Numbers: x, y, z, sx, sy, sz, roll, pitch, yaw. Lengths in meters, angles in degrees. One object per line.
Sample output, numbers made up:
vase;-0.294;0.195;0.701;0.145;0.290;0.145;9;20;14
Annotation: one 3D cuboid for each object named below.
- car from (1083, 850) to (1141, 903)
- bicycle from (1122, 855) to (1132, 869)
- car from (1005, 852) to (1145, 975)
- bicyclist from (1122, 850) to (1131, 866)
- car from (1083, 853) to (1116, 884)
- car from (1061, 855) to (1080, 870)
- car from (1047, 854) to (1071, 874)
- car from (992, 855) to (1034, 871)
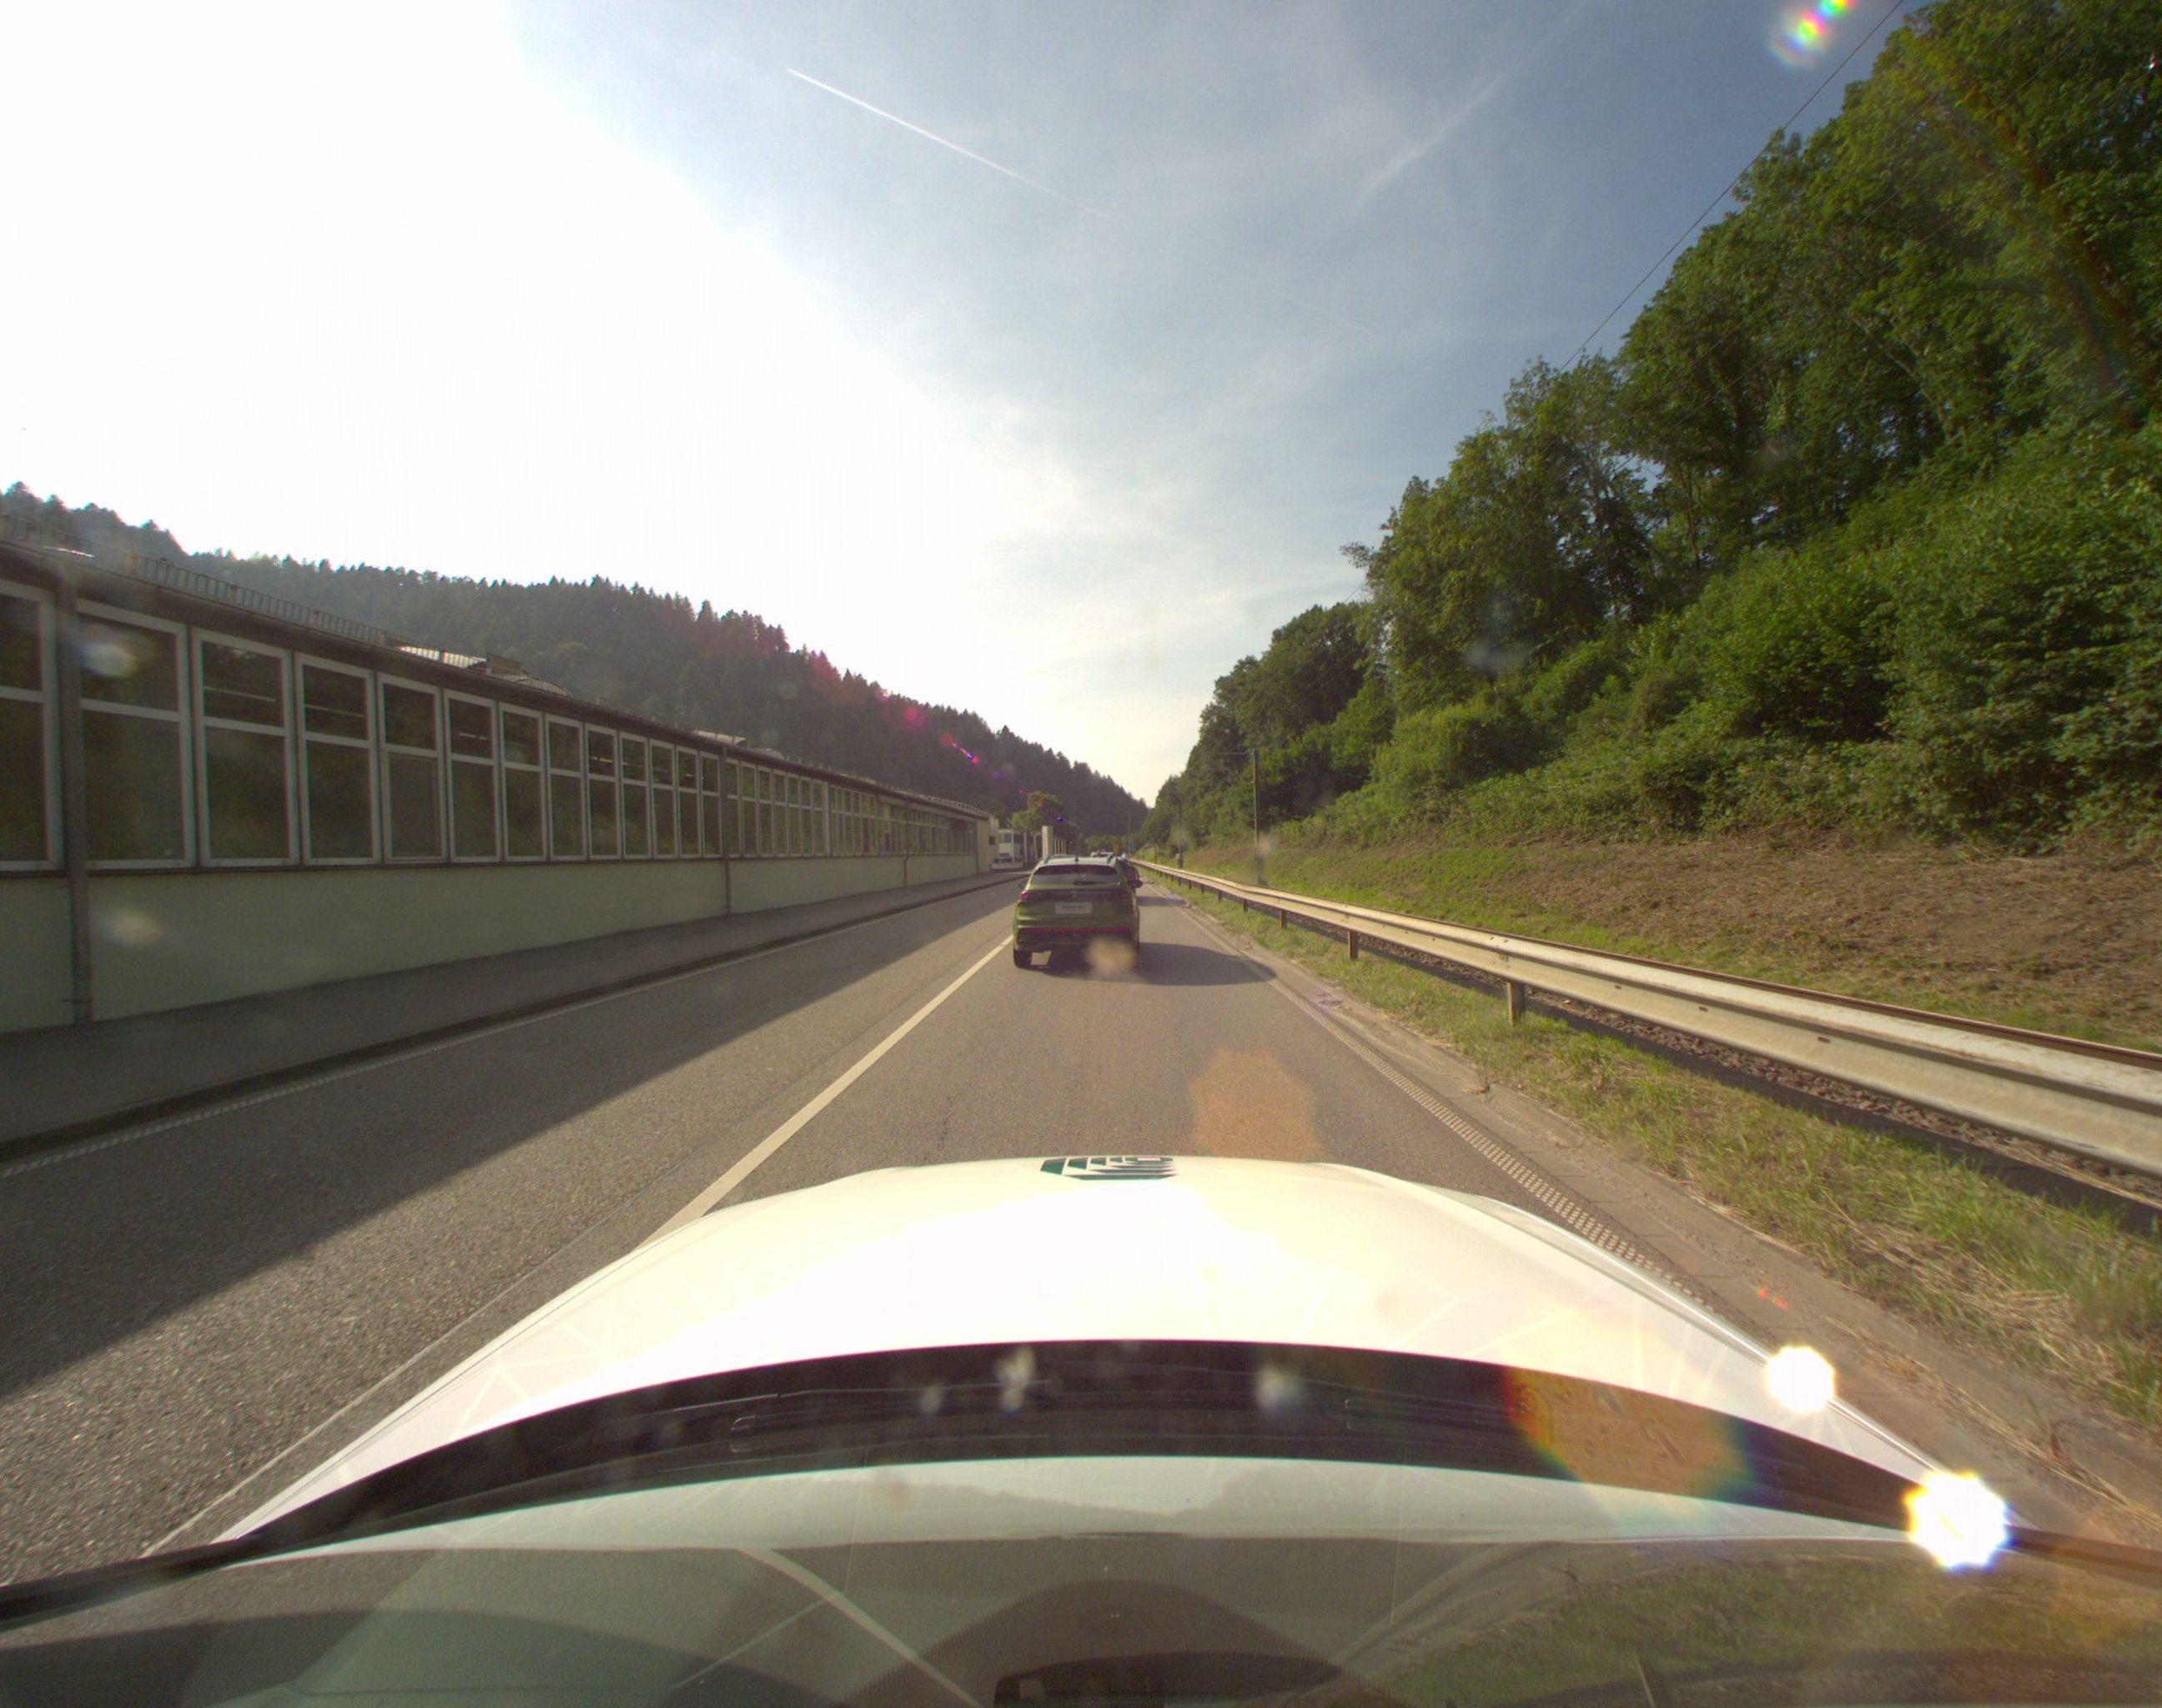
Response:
car;0.966;0.680;26.565;1.733;1.602;4.000;-1;0;1
bicycle;4.325;0.731;76.536;0.809;1.250;2.122;-1;0;0
car;-0.040;0.753;12.282;1.733;1.508;4.000;-1;0;1
bicyclist;4.306;0.370;76.655;0.779;1.412;0.675;-1;0;-1
car;1.013;0.747;44.630;1.733;1.602;4.000;-1;0;1
car;-1.038;0.865;83.627;1.767;1.490;4.053;0;0;2
car;-1.722;0.783;65.786;1.713;1.514;4.200;0;0;2
car;-7.177;0.942;86.099;1.865;1.592;4.200;-2;0;43
